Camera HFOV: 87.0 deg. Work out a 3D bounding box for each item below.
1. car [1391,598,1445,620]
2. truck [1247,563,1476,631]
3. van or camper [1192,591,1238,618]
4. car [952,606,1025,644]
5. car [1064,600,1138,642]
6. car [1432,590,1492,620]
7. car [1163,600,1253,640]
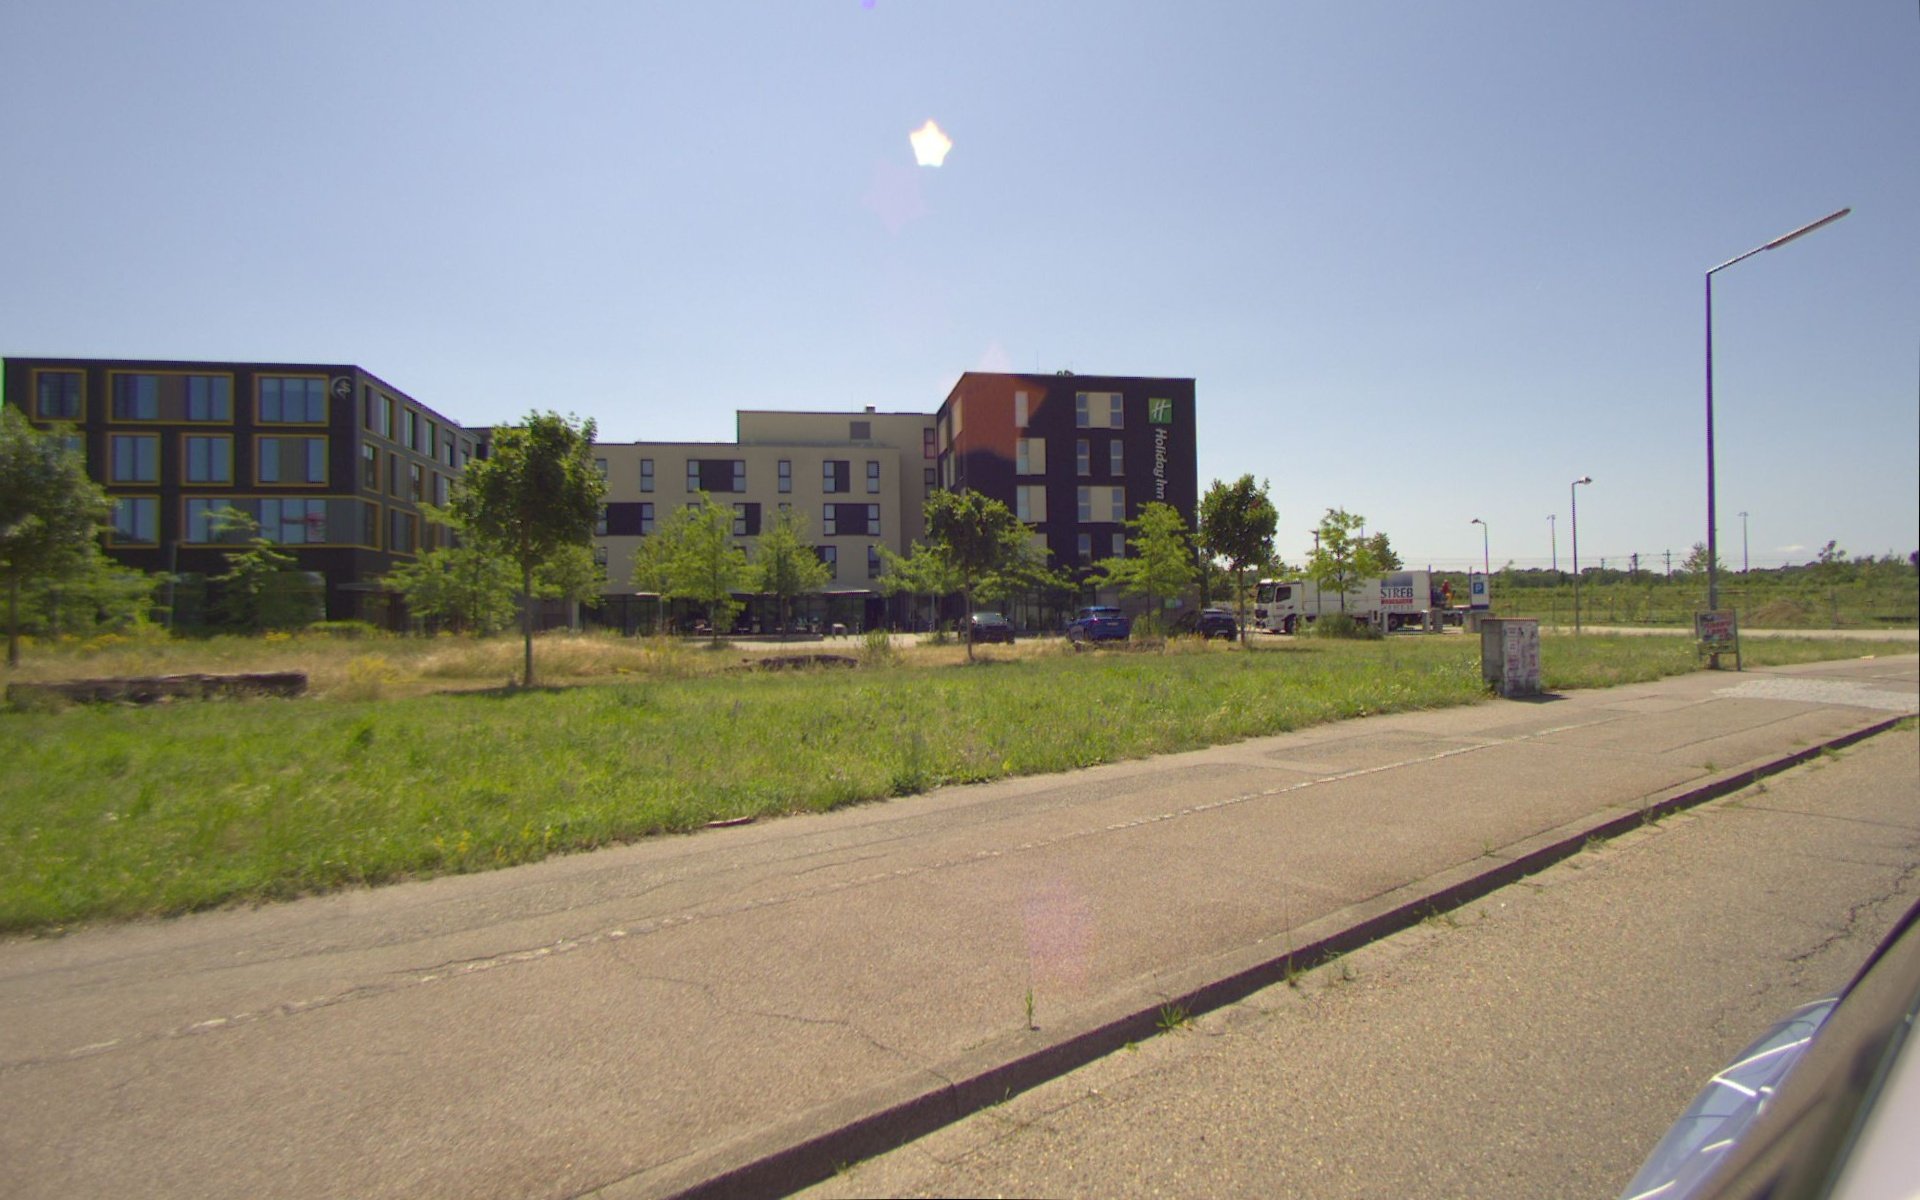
[{"bbox_3d":[34.294,0.669,75.894,1.713,1.577,4.050,-1,-1,-9],"label":"car"},{"bbox_3d":[22.417,-0.208,56.661,11.891,3.505,3.023,-1,1,-8],"label":"truck"},{"bbox_3d":[28.188,0.528,112.138,2.513,2.811,6.435,-1,-1,-9],"label":"van or camper"},{"bbox_3d":[1.123,1.030,42.373,1.921,1.463,4.134,-1,-1,-15],"label":"car"},{"bbox_3d":[5.949,0.869,43.128,1.914,1.673,4.077,-1,-1,-10],"label":"car"},{"bbox_3d":[35.025,0.367,70.661,1.842,2.039,3.921,-1,-1,-7],"label":"car"},{"bbox_3d":[10.533,0.828,43.326,1.990,1.582,4.515,-1,-1,-11],"label":"car"}]
